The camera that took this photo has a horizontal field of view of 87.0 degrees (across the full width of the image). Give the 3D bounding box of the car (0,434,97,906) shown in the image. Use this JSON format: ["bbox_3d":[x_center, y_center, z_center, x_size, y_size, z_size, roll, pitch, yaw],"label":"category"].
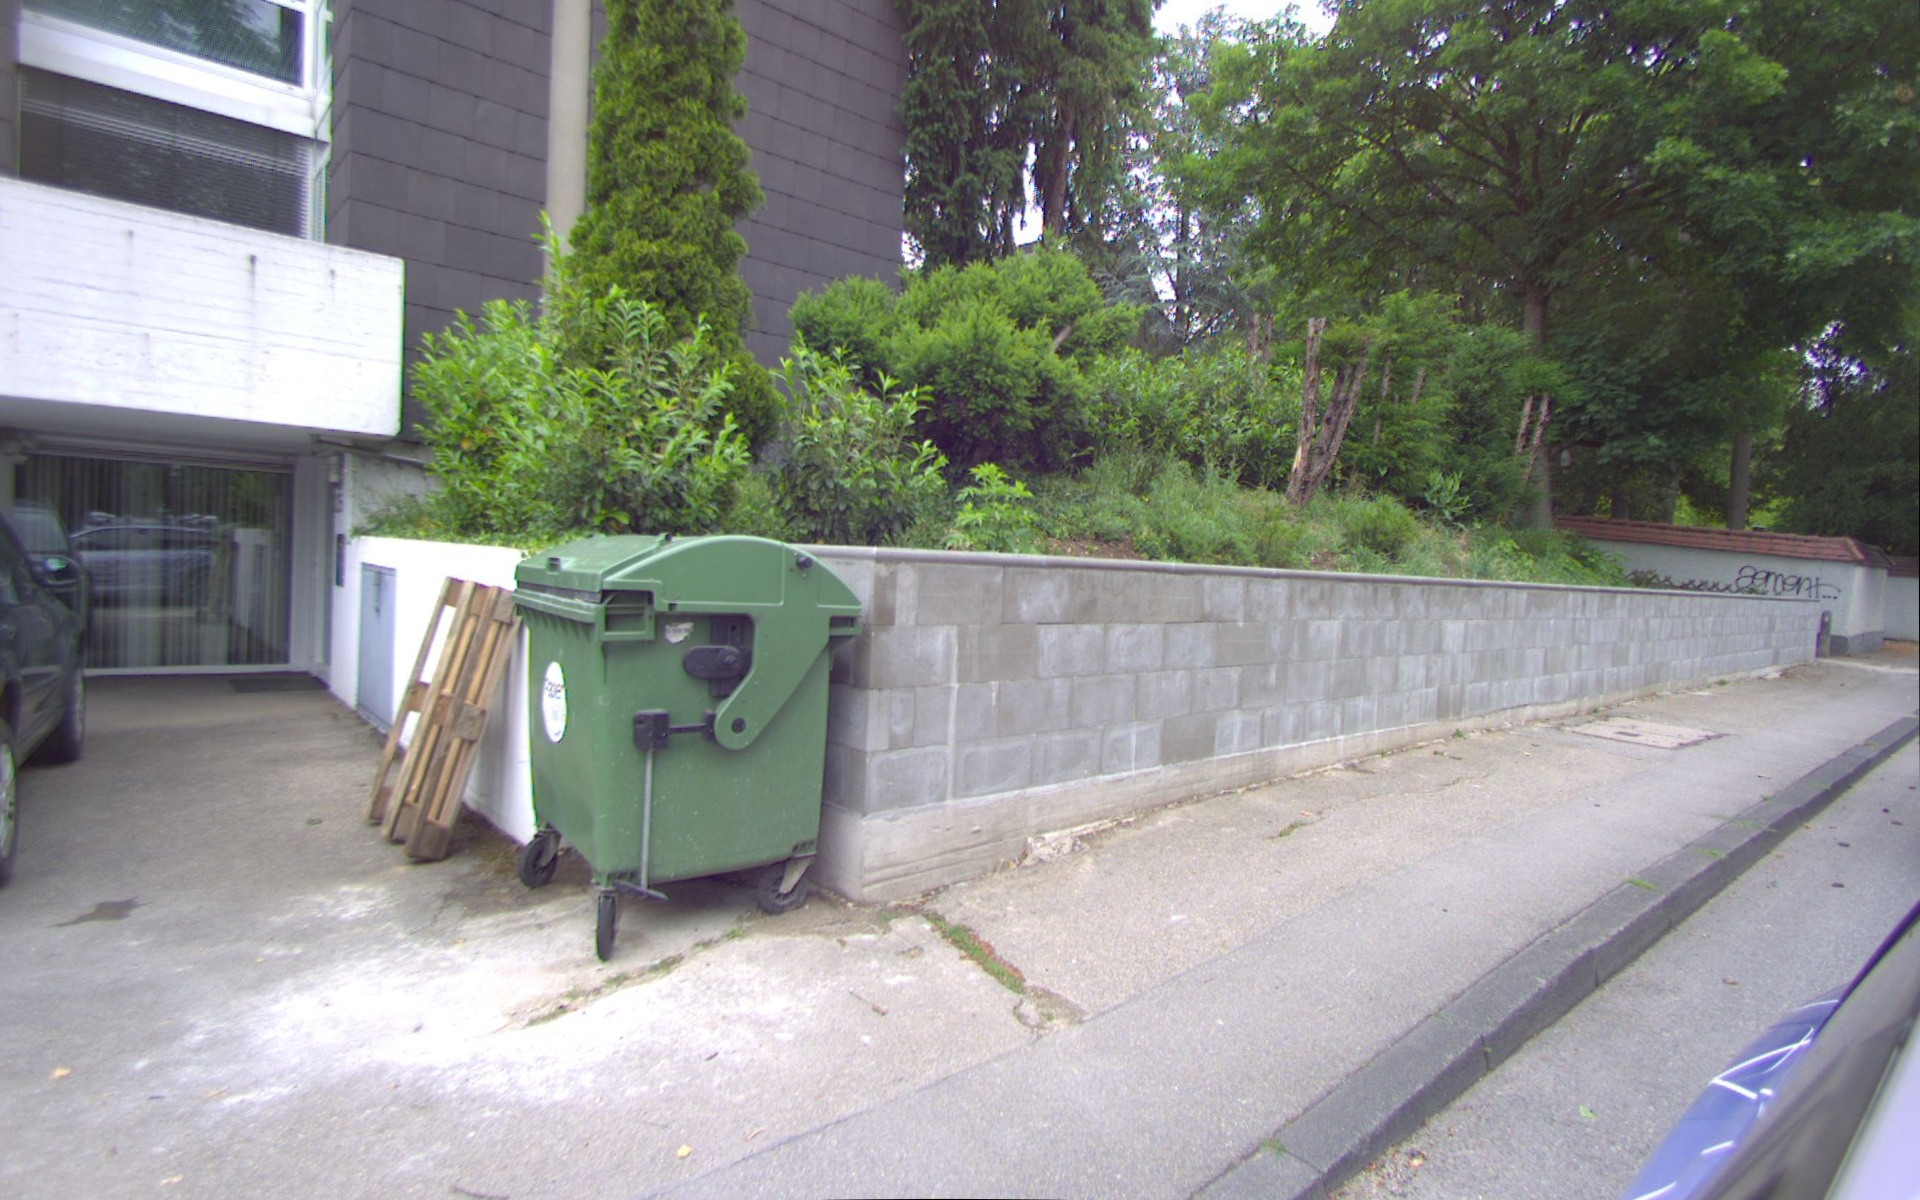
[{"bbox_3d":[-5.032,0.149,4.361,1.712,1.671,3.914,0,4,-36],"label":"car"}]

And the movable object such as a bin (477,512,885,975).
[{"bbox_3d":[-1.168,0.416,4.088,1.096,1.469,1.407,0,3,-40],"label":"movable object such as a bin"}]
